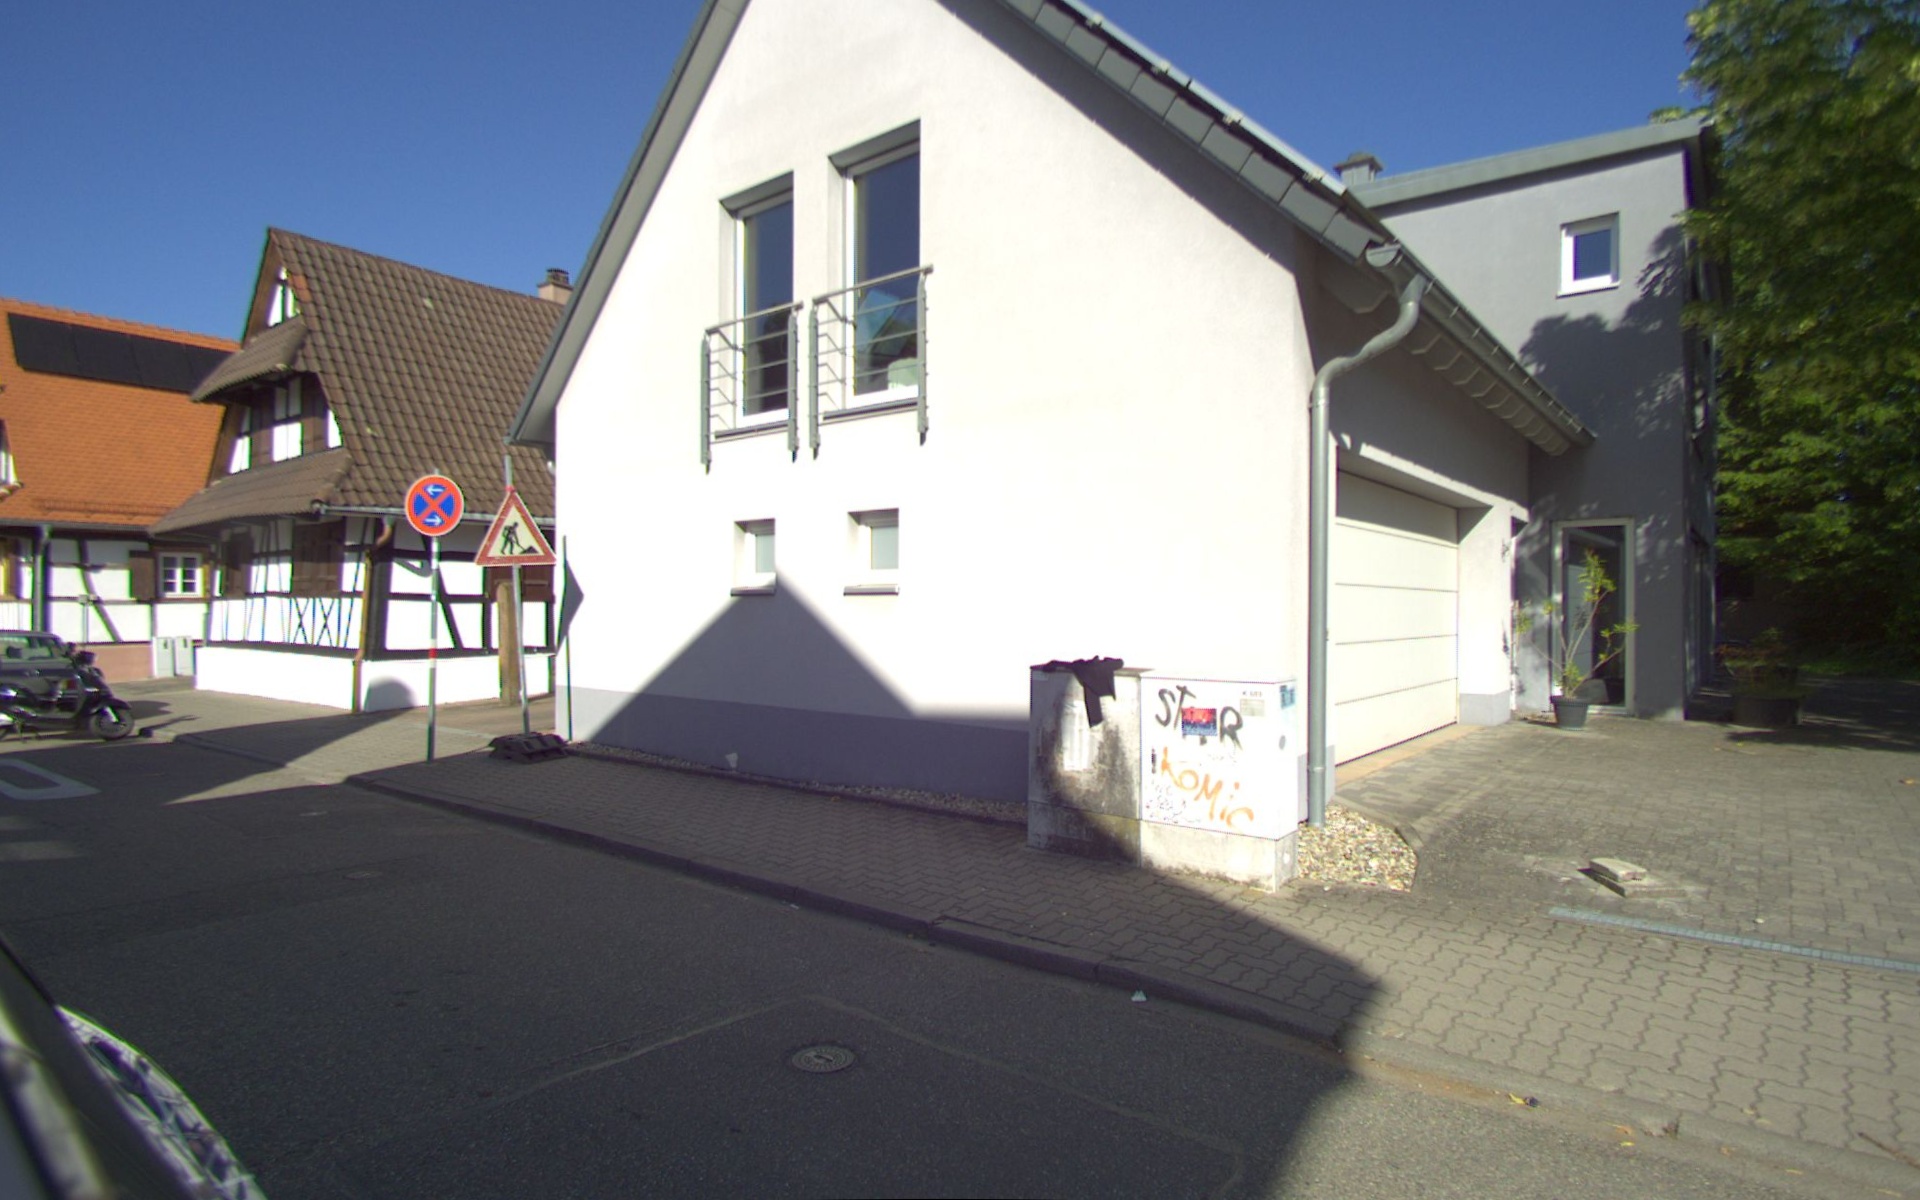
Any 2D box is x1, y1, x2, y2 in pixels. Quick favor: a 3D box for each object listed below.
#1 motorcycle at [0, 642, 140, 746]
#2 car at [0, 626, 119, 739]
[{"bbox_3d":[-11.563,1.160,12.655,1.962,1.241,0.628,0,-2,-12],"label":"motorcycle"},{"bbox_3d":[-14.293,1.107,14.726,5.023,1.417,1.829,0,-2,34],"label":"car"}]
